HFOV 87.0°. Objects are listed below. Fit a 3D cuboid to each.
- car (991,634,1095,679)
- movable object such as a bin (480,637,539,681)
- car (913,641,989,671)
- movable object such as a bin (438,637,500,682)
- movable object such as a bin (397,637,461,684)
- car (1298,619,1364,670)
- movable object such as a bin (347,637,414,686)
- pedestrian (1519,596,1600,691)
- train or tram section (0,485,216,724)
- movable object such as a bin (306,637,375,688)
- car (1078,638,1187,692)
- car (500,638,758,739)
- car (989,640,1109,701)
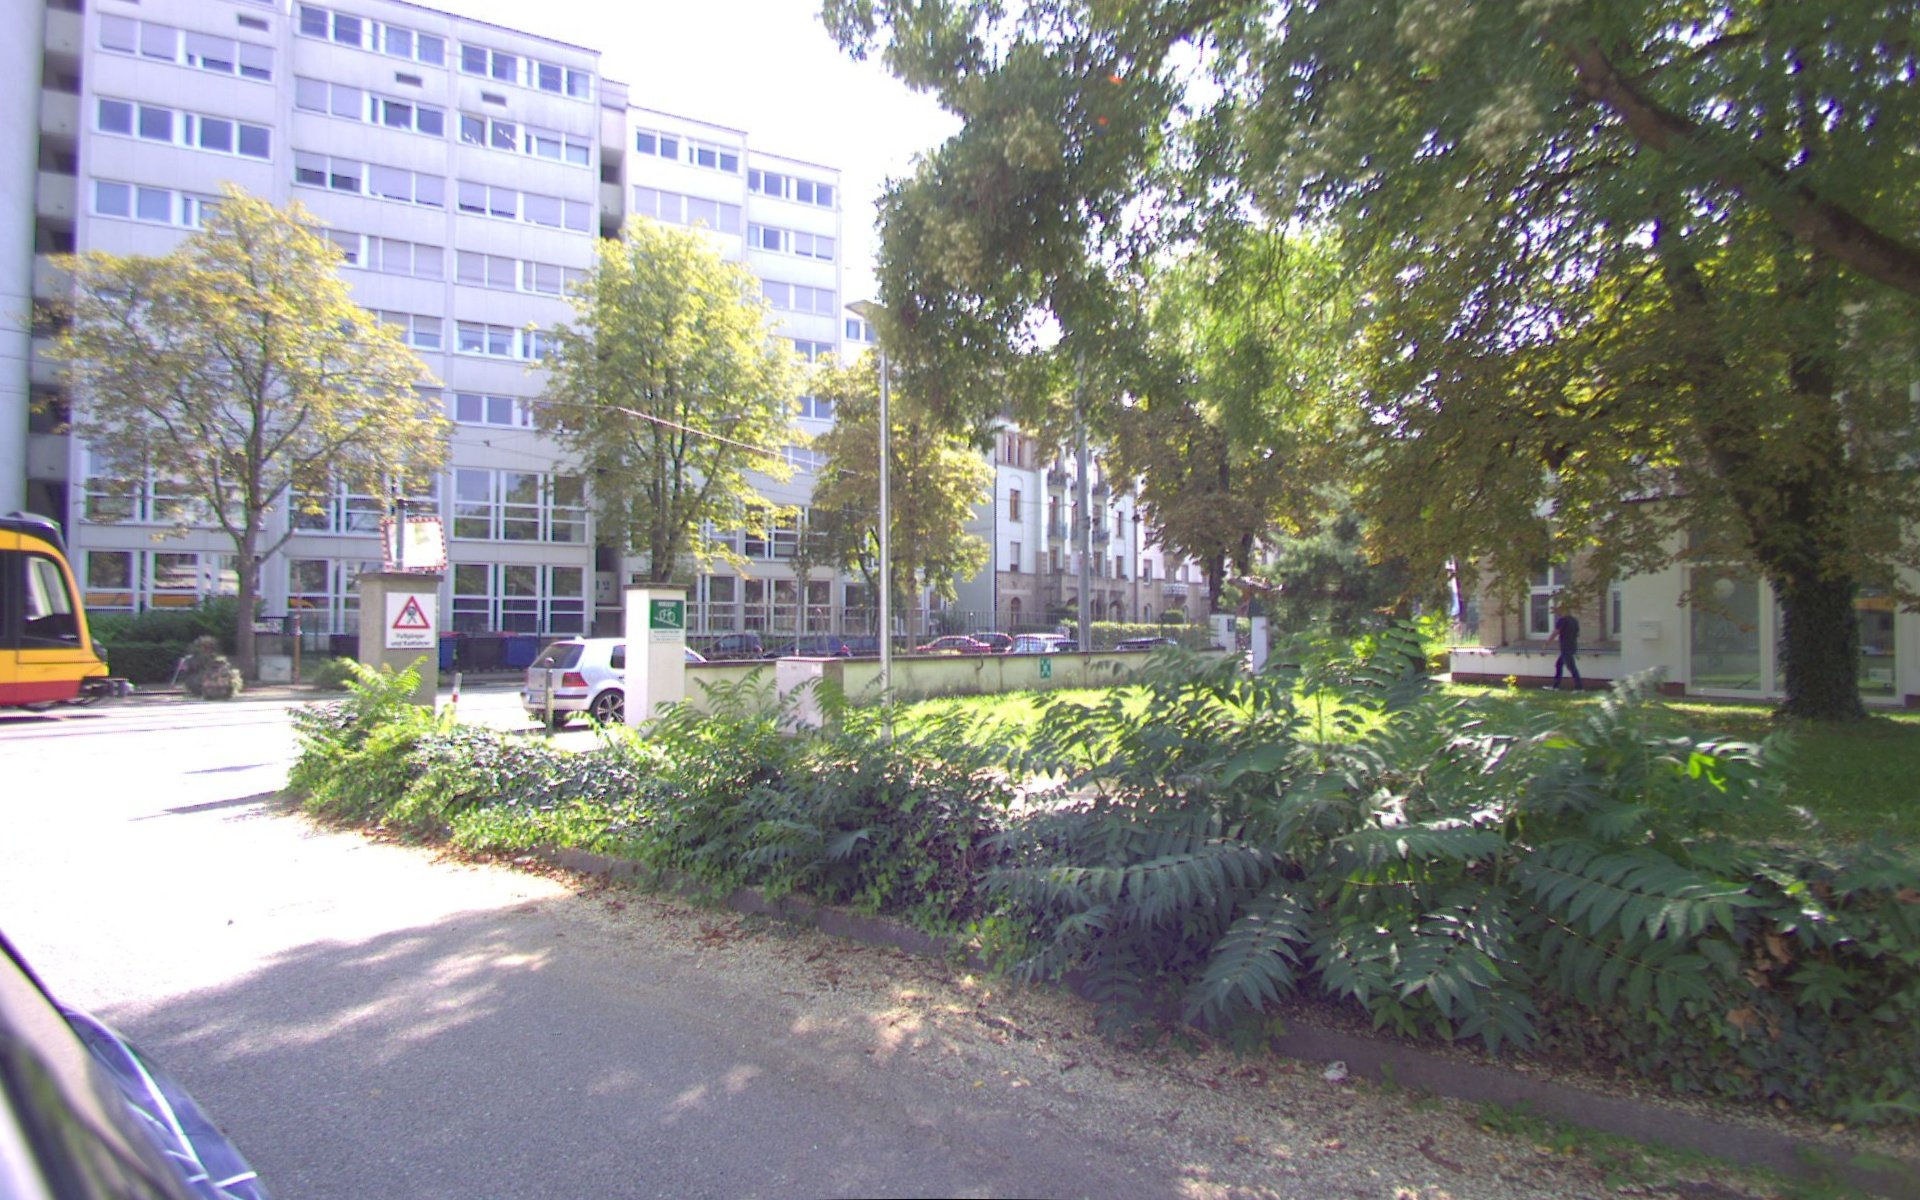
[{"bbox_3d":[2.983,1.963,35.716,1.822,1.504,3.969,-2,-3,36],"label":"car"},{"bbox_3d":[-16.714,2.186,37.520,1.684,1.571,1.338,-2,-3,36],"label":"movable object such as a bin"},{"bbox_3d":[-0.486,2.744,49.853,3.615,1.463,1.678,1,-2,-4],"label":"car"},{"bbox_3d":[-17.620,2.131,36.310,1.684,1.571,1.338,-2,-3,36],"label":"movable object such as a bin"},{"bbox_3d":[-18.350,2.087,35.005,1.684,1.571,1.338,-2,-3,36],"label":"movable object such as a bin"},{"bbox_3d":[18.248,2.178,49.688,1.997,2.383,3.950,-1,-2,37],"label":"car"},{"bbox_3d":[-19.395,2.049,33.877,1.684,1.571,1.338,-2,-3,36],"label":"movable object such as a bin"},{"bbox_3d":[12.060,0.877,20.392,0.723,1.842,1.134,1,-3,-26],"label":"pedestrian"},{"bbox_3d":[-18.379,0.028,14.242,3.503,3.732,12.255,-1,-2,37],"label":"train or tram section"},{"bbox_3d":[-19.869,1.991,32.459,1.684,1.571,1.338,-2,-3,36],"label":"movable object such as a bin"},{"bbox_3d":[5.576,2.027,32.408,1.798,1.589,3.948,-2,-3,38],"label":"car"},{"bbox_3d":[-5.369,1.386,16.748,1.795,1.457,3.684,-3,-4,39],"label":"car"},{"bbox_3d":[2.502,1.883,27.766,1.643,1.523,3.596,-1,-3,37],"label":"car"}]
